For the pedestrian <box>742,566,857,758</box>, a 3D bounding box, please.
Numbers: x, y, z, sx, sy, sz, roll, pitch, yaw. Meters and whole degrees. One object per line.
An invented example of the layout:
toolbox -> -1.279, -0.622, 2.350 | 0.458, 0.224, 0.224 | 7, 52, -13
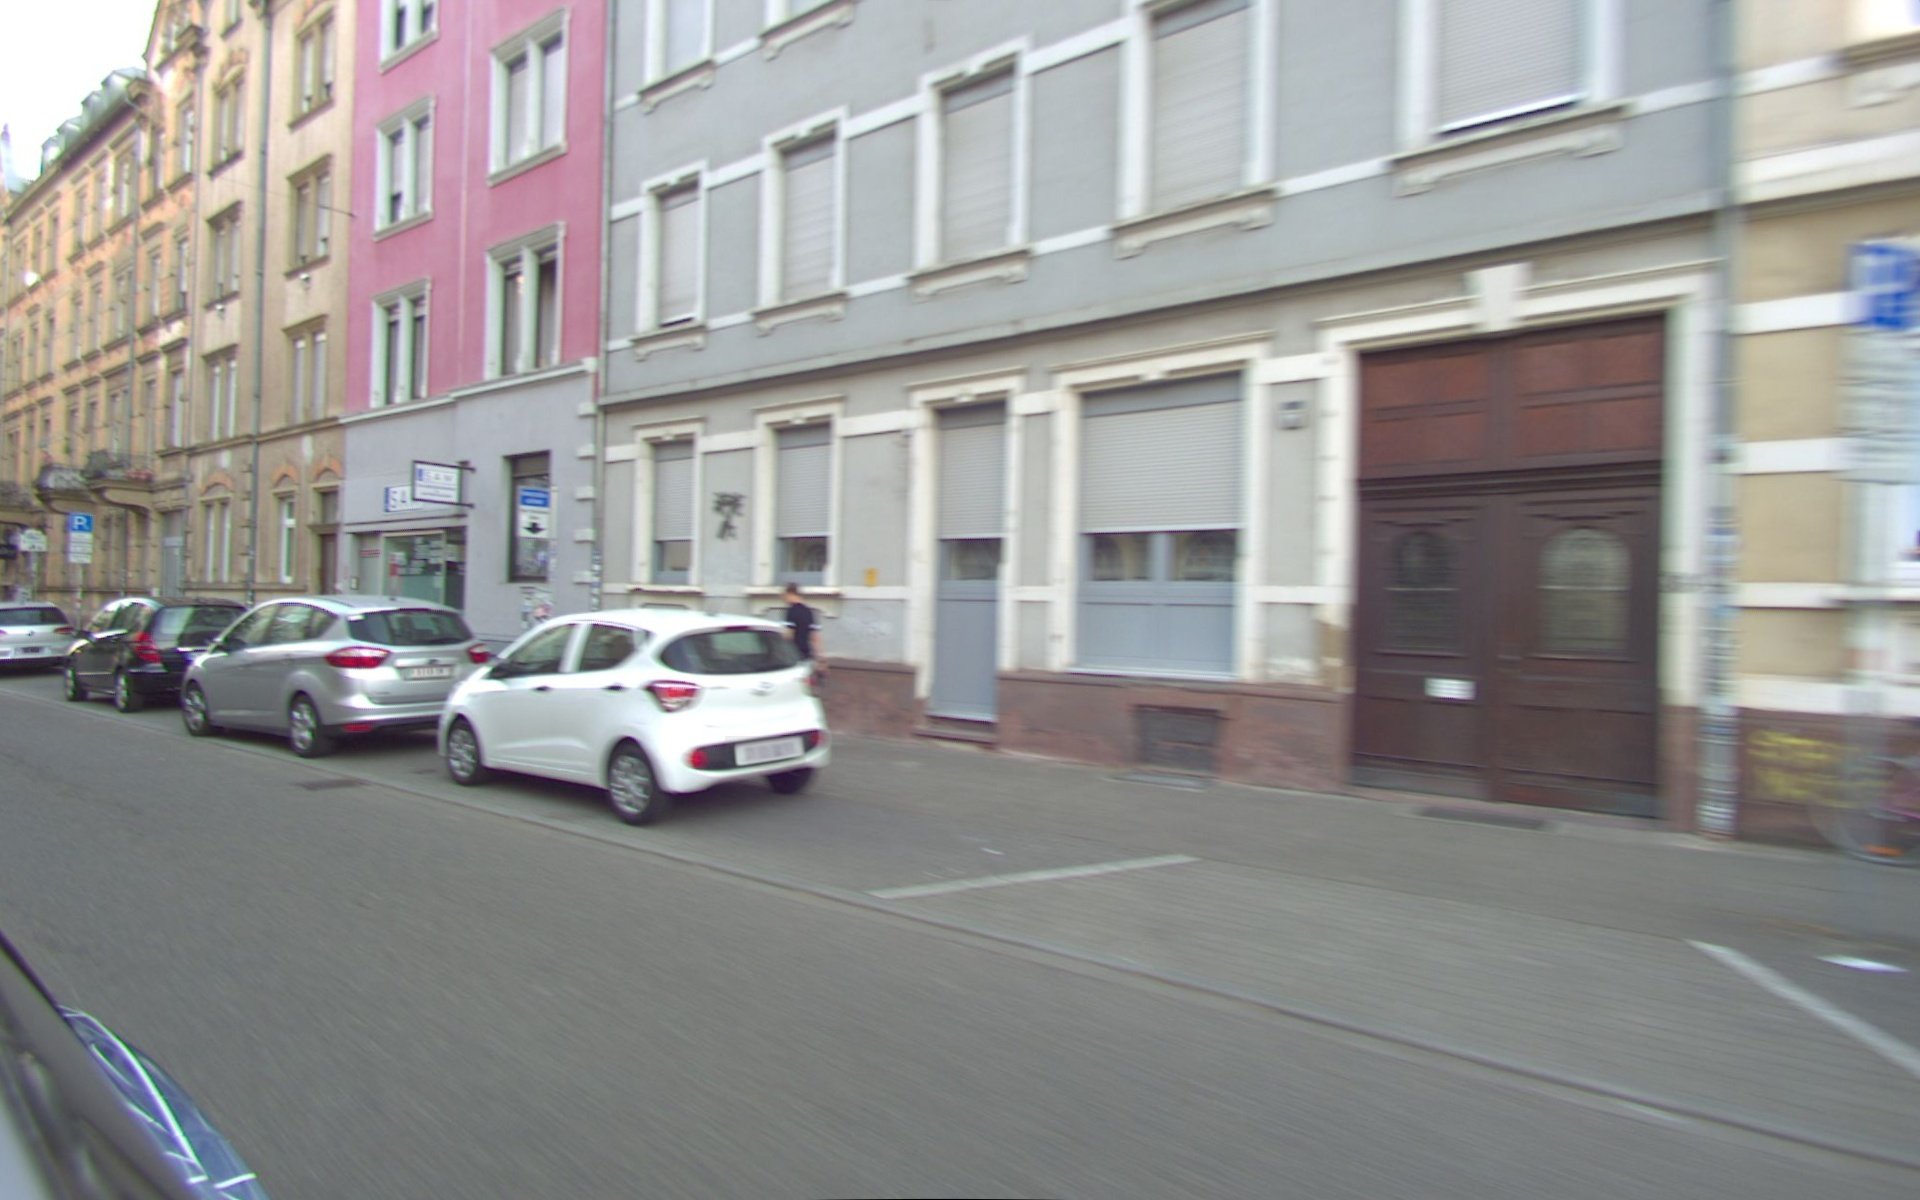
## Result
pedestrian -> -1.734, 0.645, 10.965 | 0.833, 1.964, 0.841 | 0, -2, 40

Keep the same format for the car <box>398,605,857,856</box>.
car -> -2.884, 0.852, 8.439 | 3.921, 1.588, 1.737 | 0, 0, 37

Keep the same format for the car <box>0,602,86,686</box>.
car -> -19.605, 0.852, 20.747 | 4.051, 1.486, 1.737 | 0, 4, 38

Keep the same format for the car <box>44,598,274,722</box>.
car -> -12.046, 0.779, 15.153 | 4.050, 1.605, 1.737 | 0, 0, 37

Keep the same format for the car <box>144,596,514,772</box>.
car -> -7.161, 0.756, 11.318 | 4.661, 1.605, 1.817 | 0, 0, 35

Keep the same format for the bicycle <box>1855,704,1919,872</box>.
bicycle -> 6.256, 1.148, 5.928 | 1.461, 0.984, 0.397 | 0, -5, 34
